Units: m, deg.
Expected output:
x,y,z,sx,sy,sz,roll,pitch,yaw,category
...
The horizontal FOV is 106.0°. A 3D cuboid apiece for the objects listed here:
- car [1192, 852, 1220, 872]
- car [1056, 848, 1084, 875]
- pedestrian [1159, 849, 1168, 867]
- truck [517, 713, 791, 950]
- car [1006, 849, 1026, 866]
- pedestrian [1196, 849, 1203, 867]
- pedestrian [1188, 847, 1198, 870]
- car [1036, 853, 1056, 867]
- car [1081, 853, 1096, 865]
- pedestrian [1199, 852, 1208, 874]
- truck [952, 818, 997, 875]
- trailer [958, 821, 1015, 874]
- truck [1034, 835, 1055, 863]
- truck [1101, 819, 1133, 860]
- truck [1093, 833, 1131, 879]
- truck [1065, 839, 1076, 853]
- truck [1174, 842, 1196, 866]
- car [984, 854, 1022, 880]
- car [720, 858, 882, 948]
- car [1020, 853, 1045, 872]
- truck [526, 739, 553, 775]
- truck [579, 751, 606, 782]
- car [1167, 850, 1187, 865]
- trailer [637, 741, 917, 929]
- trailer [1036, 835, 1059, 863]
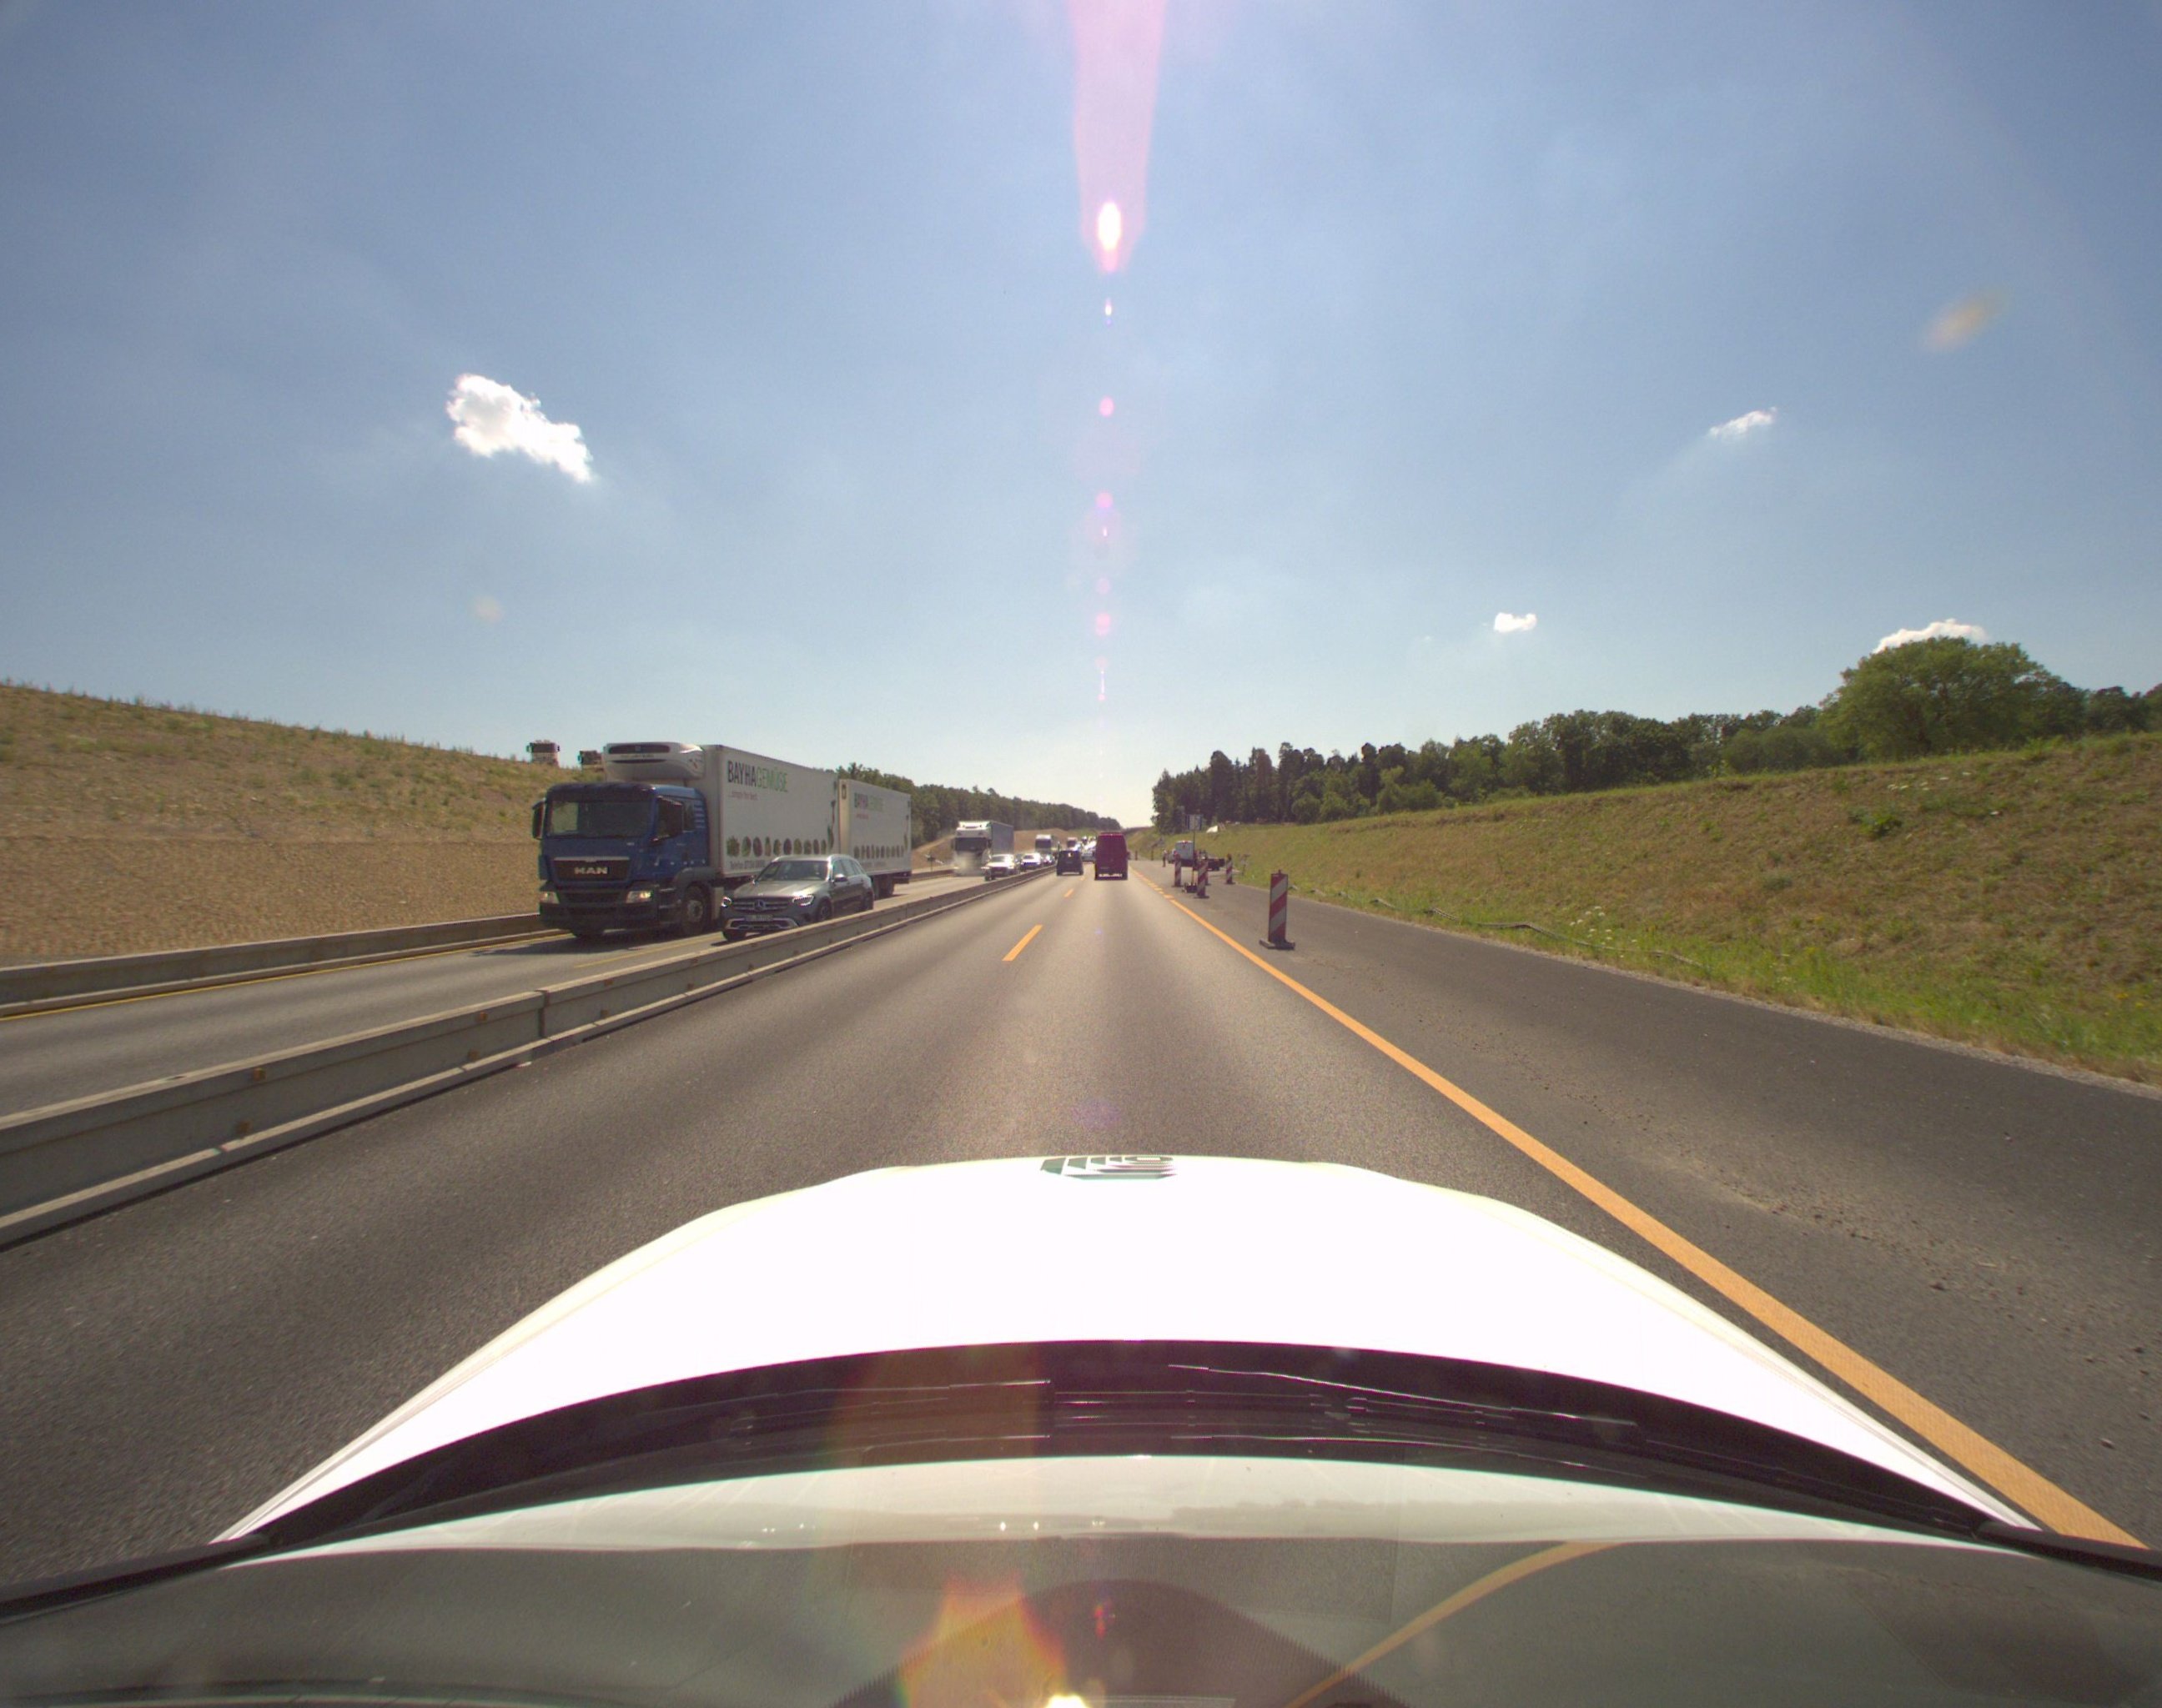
x,y,z,sx,sy,sz,roll,pitch,yaw,category
10.156,0.627,66.446,1.647,1.426,4.548,-3,0,2,car
-0.745,0.516,58.405,1.745,1.824,4.785,0,0,2,car
8.210,0.375,81.004,0.725,1.828,0.715,0,-1,-18,pedestrian
-8.837,-0.400,17.765,2.481,4.198,5.916,-2,0,3,truck
-7.408,0.419,93.160,1.711,1.875,4.002,0,-1,2,car
11.756,0.424,80.600,0.561,1.795,0.667,0,-1,0,pedestrian
9.140,0.359,66.301,0.642,1.828,0.555,0,0,-19,pedestrian
-3.584,0.675,84.222,1.723,1.387,4.861,0,-1,1,car
0.970,0.648,102.999,1.824,1.522,3.962,0,-1,2,car
10.440,0.741,69.482,0.624,1.828,0.640,0,0,-10,pedestrian
-7.837,-0.526,60.643,2.583,4.053,5.150,0,0,1,truck
-7.638,-0.448,67.871,2.643,3.938,14.002,0,0,2,trailer
-5.434,-0.728,122.659,2.758,4.044,4.946,0,-1,2,truck
5.189,-1.901,118.645,4.383,5.496,16.609,0,-1,2,truck
1.885,0.146,49.612,2.145,2.590,5.335,0,-1,2,truck
-2.875,-2.054,223.682,2.499,3.617,9.646,0,-1,3,truck
10.819,-0.028,84.536,2.117,2.457,5.940,0,0,9,truck
-4.710,0.788,49.541,1.801,1.488,4.243,0,-1,1,car
-5.607,0.907,16.964,1.682,1.613,4.594,0,-1,1,car
-4.117,0.713,69.675,1.769,1.555,4.140,-3,0,1,car
-60.168,-10.720,90.499,2.371,2.898,8.279,0,-1,-34,truck
-59.082,-10.473,98.459,2.311,2.749,8.812,0,-1,-34,truck
11.548,0.419,98.273,1.770,1.677,4.852,0,1,-2,car
-8.494,-0.413,26.313,2.492,4.179,15.542,-2,0,2,trailer
-5.245,-0.784,129.547,2.780,4.075,13.716,0,0,2,trailer
